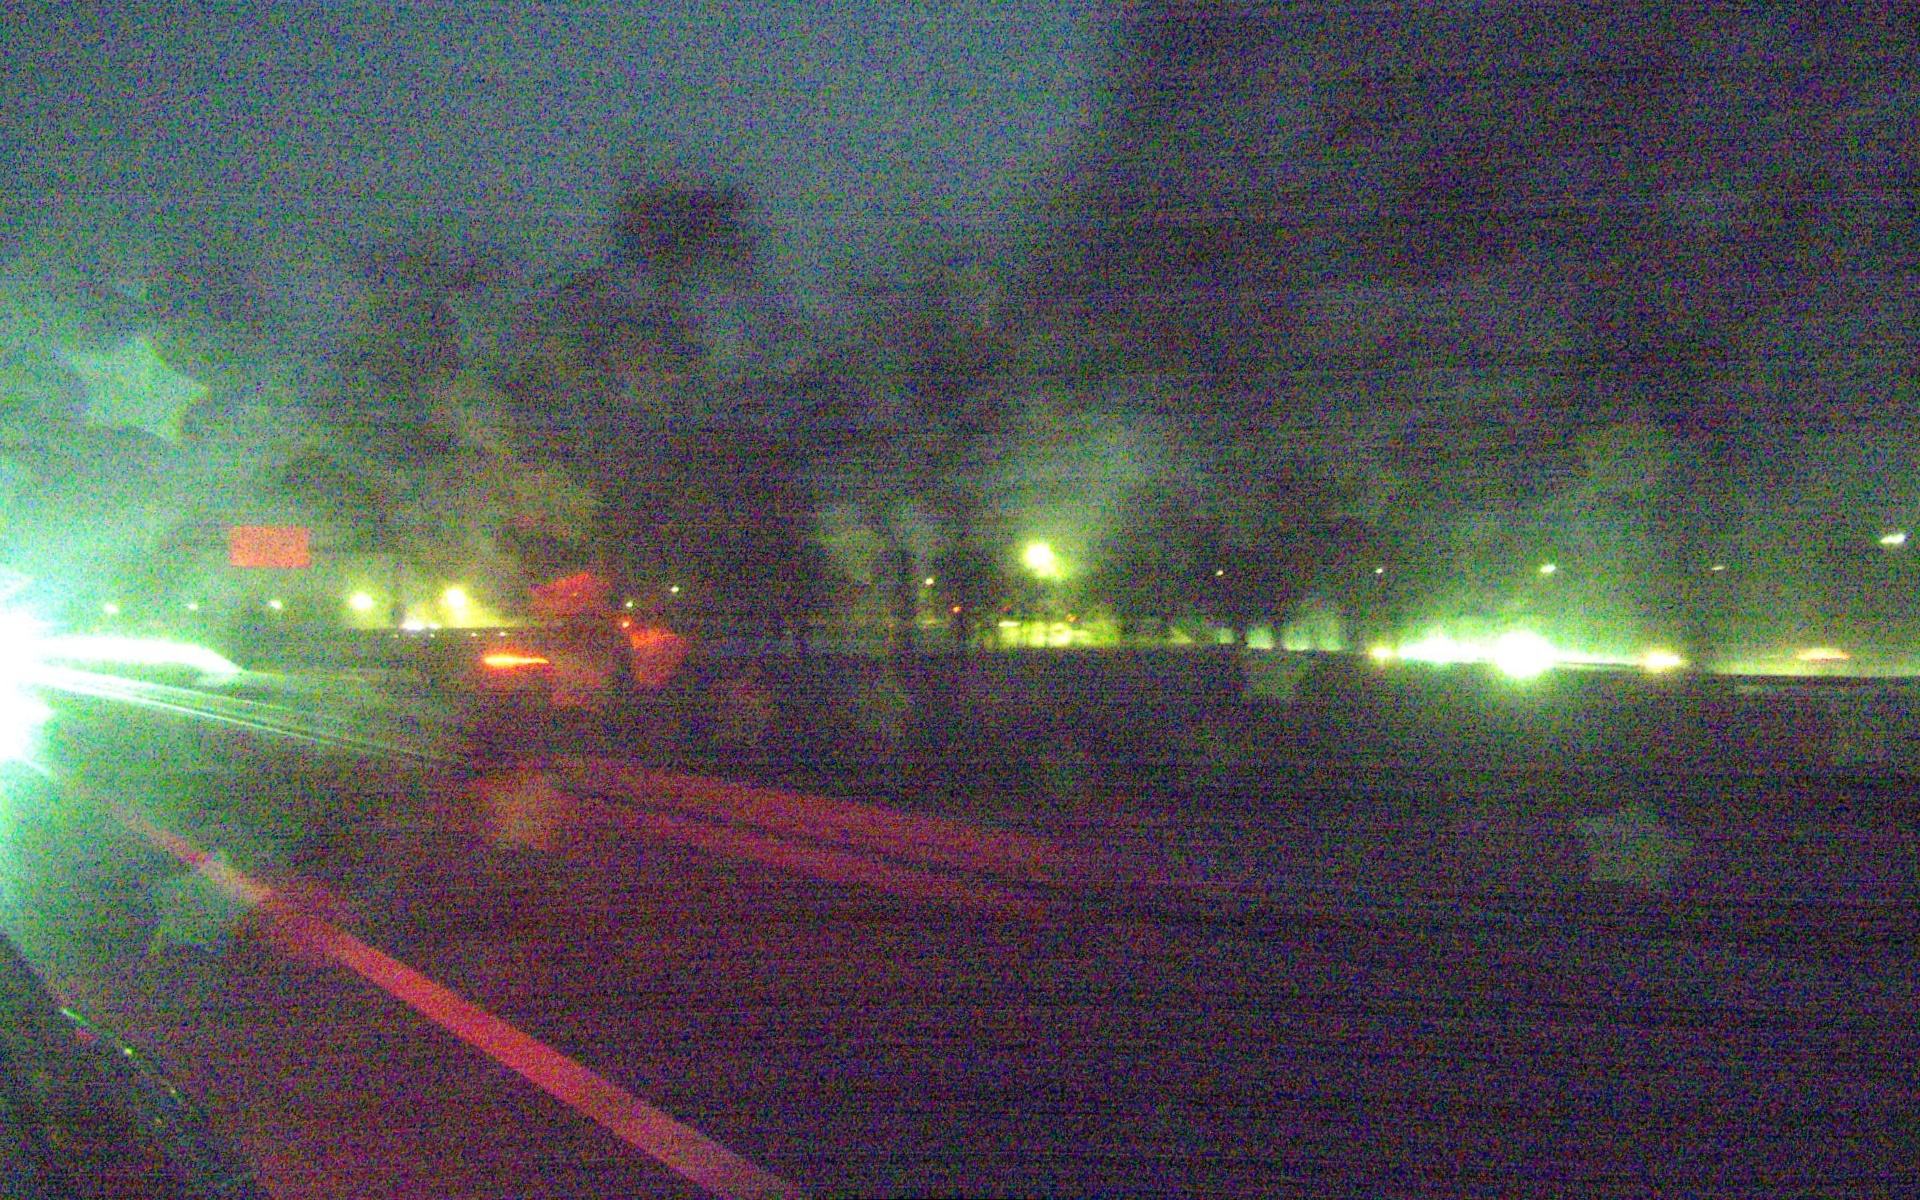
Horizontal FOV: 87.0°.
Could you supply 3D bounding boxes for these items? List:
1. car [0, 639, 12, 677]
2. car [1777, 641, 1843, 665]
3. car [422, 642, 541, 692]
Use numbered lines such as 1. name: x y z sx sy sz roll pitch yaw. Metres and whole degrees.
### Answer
1. car: -45.550 2.681 46.650 1.966 1.761 4.111 0 -3 -33
2. car: 75.407 4.692 89.851 1.972 2.029 4.469 -1 -2 0
3. car: -16.741 2.320 35.365 3.980 1.652 1.743 -2 -3 28
